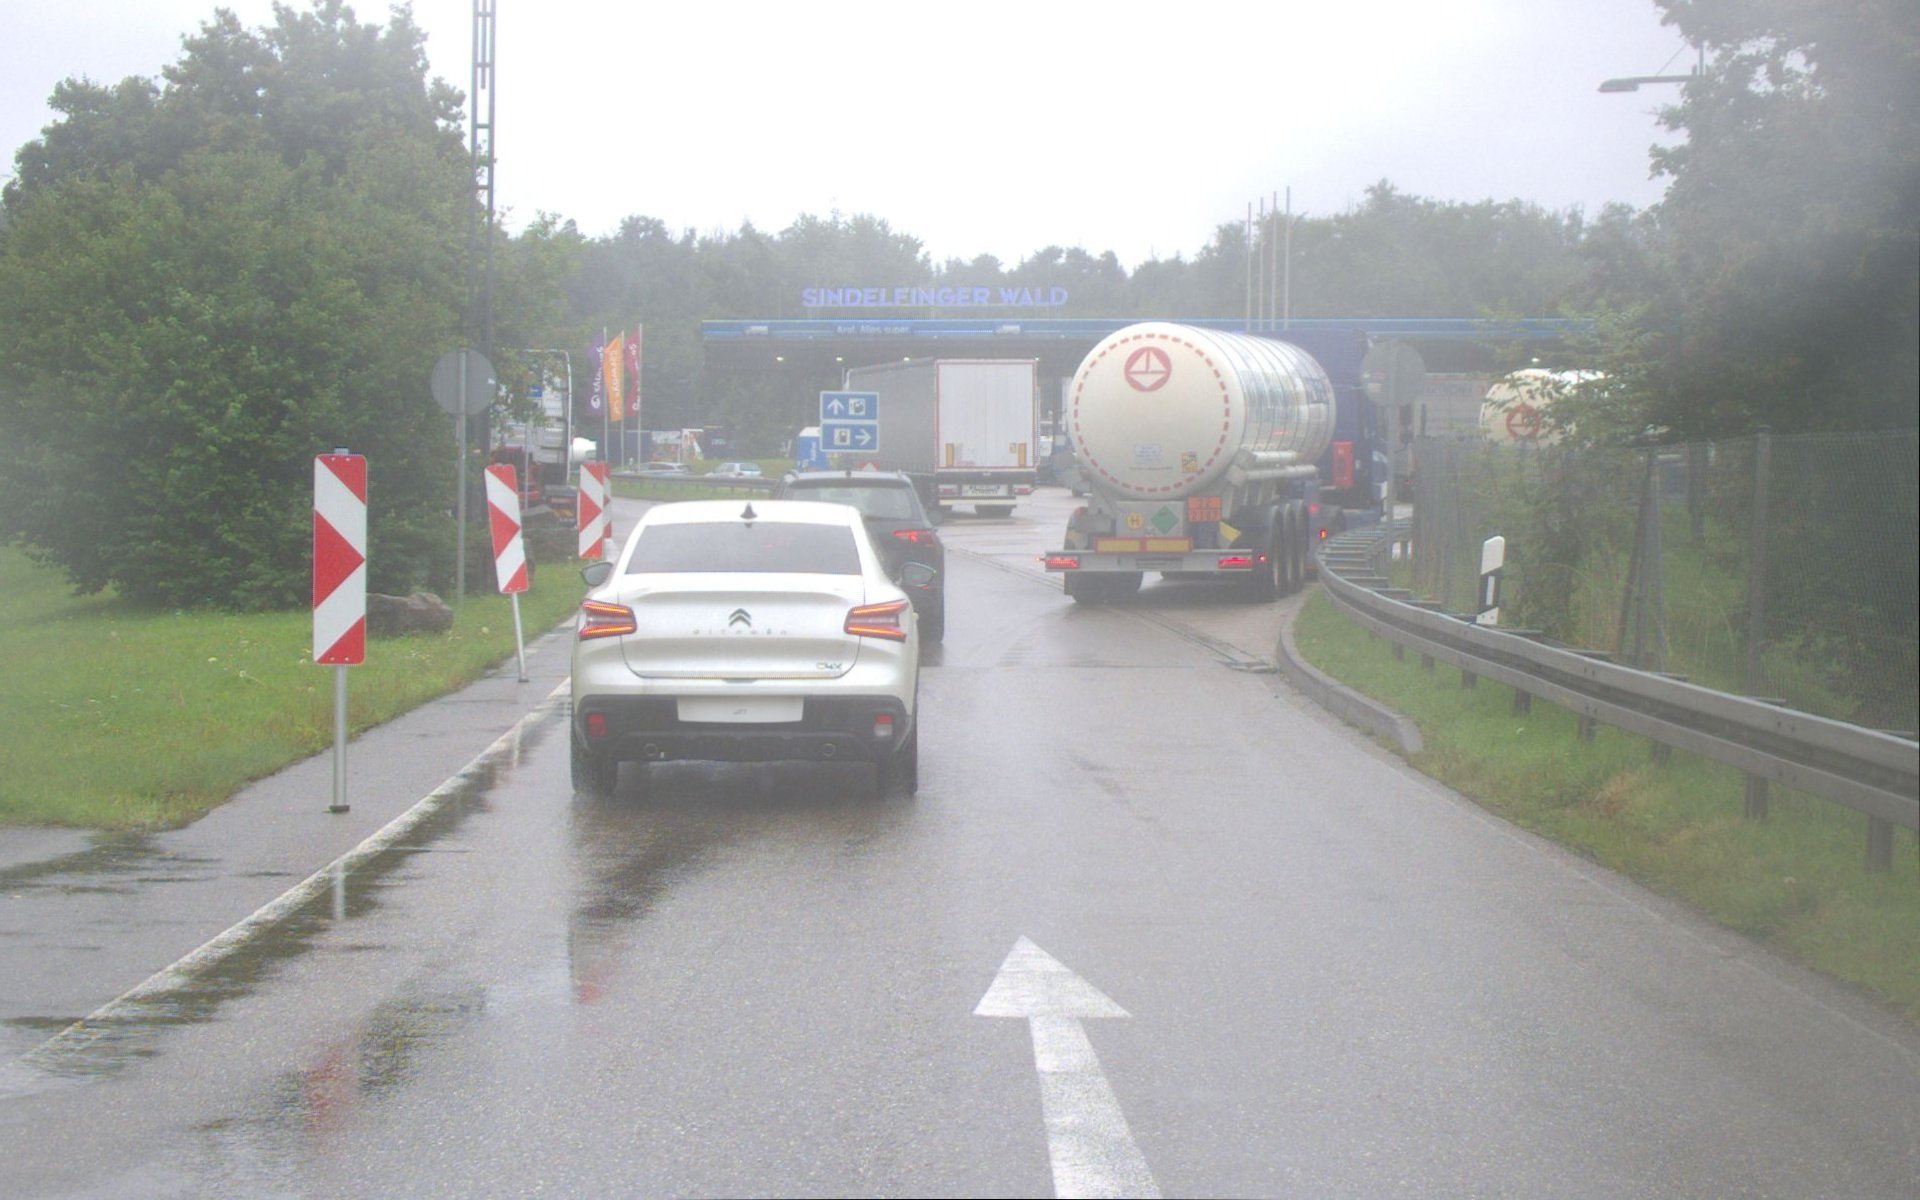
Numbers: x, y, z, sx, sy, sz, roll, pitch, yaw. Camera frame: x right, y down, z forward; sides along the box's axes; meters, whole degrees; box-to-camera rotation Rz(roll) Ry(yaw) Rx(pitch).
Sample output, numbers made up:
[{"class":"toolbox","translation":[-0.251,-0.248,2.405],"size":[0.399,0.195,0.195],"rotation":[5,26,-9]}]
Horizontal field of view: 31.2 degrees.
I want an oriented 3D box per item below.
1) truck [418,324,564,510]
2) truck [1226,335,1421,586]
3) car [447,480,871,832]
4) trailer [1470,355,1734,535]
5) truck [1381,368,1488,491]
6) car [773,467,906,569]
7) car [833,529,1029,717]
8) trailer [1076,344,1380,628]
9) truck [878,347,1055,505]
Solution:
[{"class":"truck","translation":[-10.339,-3.987,75.363],"size":[2.914,3.890,6.319],"rotation":[0,3,-10]},{"class":"truck","translation":[5.421,-2.075,50.794],"size":[2.054,3.518,4.743],"rotation":[1,3,16]},{"class":"car","translation":[-1.486,0.224,18.425],"size":[1.993,1.673,4.000],"rotation":[0,1,-1]},{"class":"trailer","translation":[13.319,-3.186,70.535],"size":[2.135,3.428,10.237],"rotation":[2,3,29]},{"class":"truck","translation":[14.860,-5.375,107.941],"size":[2.425,3.792,4.002],"rotation":[-1,4,-6]},{"class":"car","translation":[-1.866,-1.280,52.356],"size":[1.878,1.456,4.001],"rotation":[1,2,-4]},{"class":"car","translation":[-0.260,0.190,33.919],"size":[1.742,1.661,4.000],"rotation":[3,1,0]},{"class":"trailer","translation":[3.651,-1.518,44.192],"size":[1.982,3.213,10.315],"rotation":[1,3,15]},{"class":"truck","translation":[0.028,-4.606,90.764],"size":[2.370,3.860,12.460],"rotation":[-1,3,-11]}]
